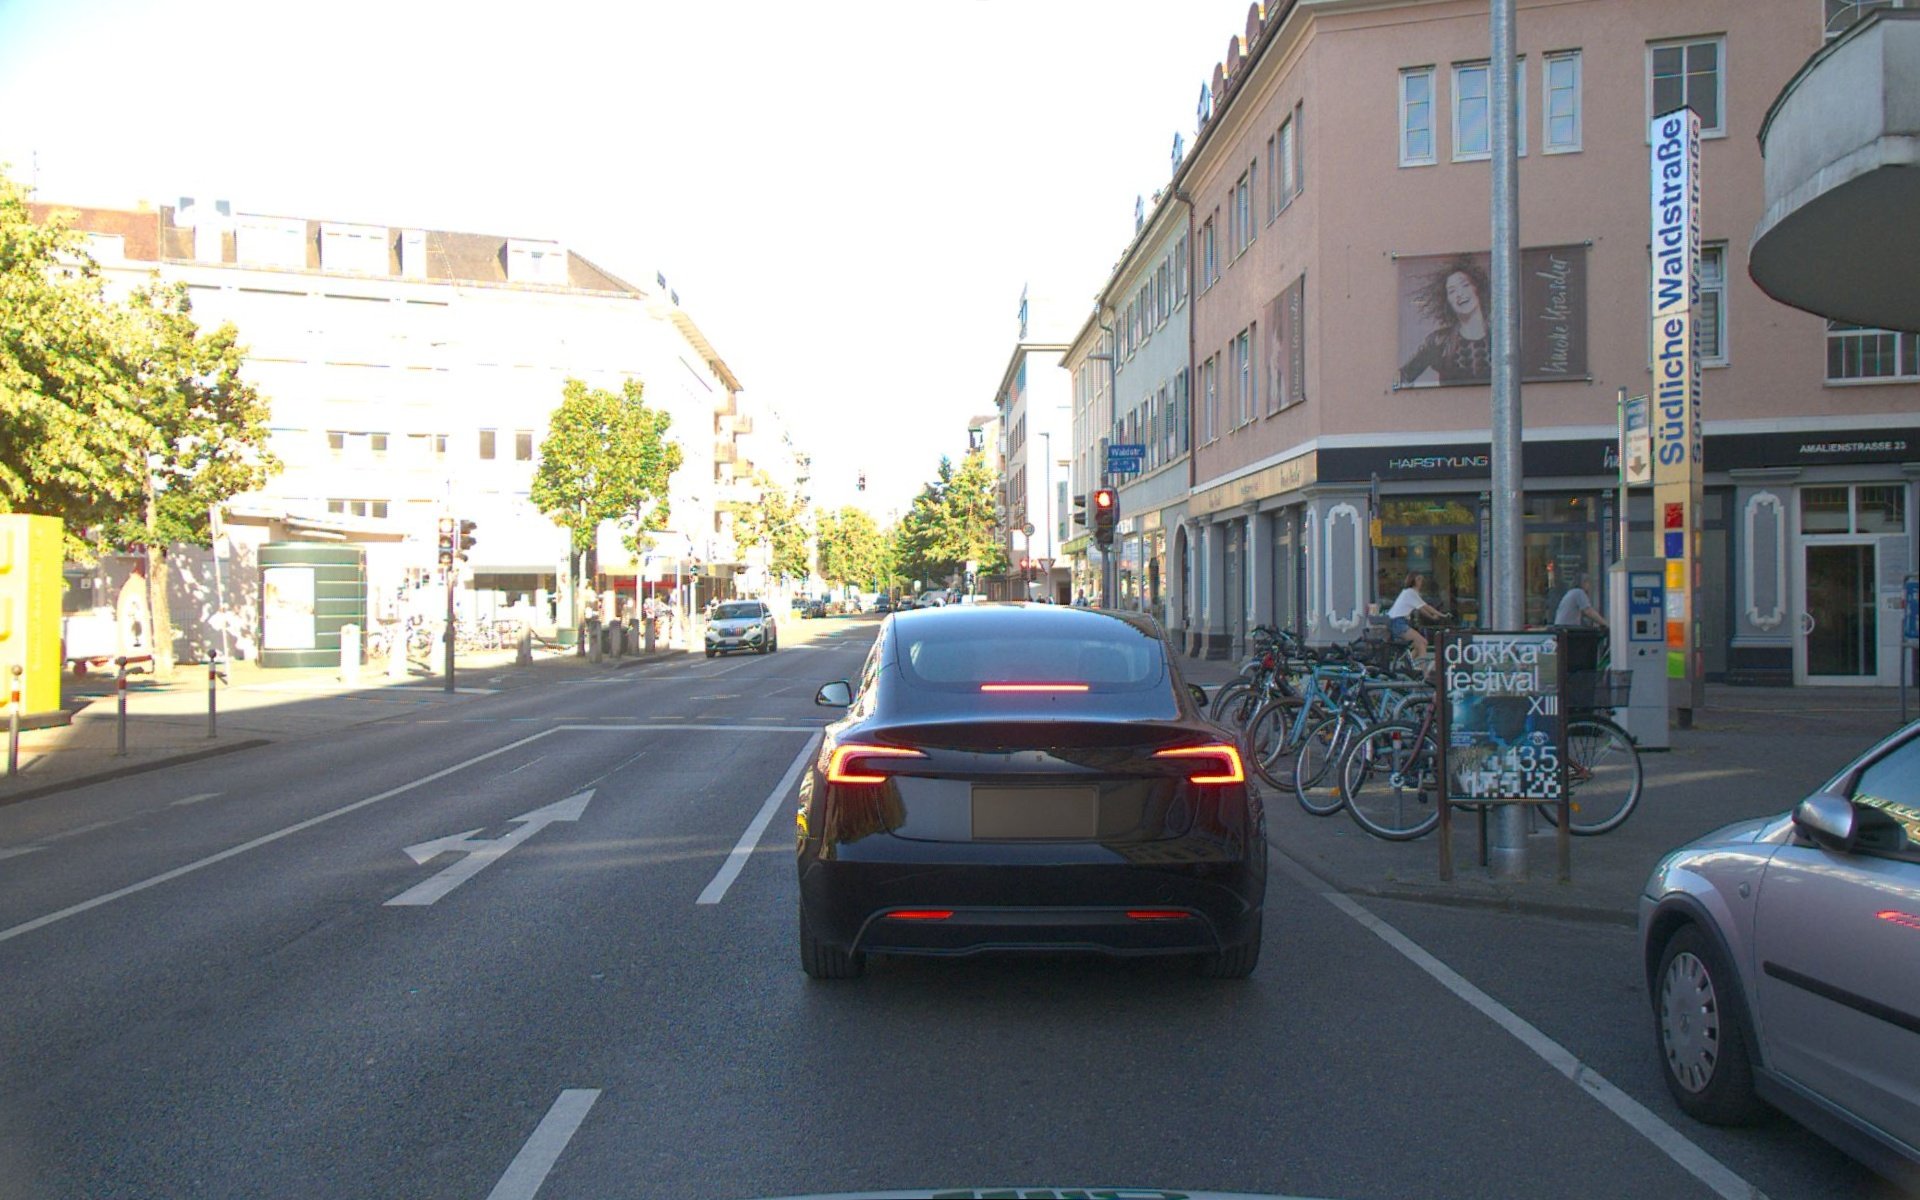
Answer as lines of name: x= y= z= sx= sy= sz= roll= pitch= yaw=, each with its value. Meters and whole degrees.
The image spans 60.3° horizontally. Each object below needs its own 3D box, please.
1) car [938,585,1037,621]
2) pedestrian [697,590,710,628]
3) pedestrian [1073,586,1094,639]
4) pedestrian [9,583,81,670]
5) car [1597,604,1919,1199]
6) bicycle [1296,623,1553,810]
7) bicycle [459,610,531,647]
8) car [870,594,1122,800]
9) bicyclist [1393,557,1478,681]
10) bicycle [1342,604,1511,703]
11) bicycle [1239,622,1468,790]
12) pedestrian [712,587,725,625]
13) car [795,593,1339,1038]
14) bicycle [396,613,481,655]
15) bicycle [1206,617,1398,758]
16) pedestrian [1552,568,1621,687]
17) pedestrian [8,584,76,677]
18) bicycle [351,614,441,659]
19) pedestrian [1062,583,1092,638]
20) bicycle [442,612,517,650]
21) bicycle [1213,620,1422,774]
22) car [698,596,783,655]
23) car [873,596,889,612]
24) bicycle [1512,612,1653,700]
car: x=1.356 y=0.156 z=82.487 sx=4.549 sy=1.757 sz=2.054 roll=0 pitch=0 yaw=28
pedestrian: x=-13.834 y=0.494 z=89.270 sx=0.613 sy=2.049 sz=0.707 roll=0 pitch=0 yaw=-1
pedestrian: x=4.238 y=0.417 z=56.727 sx=0.689 sy=1.814 sz=0.533 roll=0 pitch=0 yaw=-1
pedestrian: x=-17.663 y=0.506 z=31.951 sx=0.966 sy=1.665 sz=0.737 roll=0 pitch=0 yaw=3
car: x=2.942 y=0.730 z=3.635 sx=1.588 sy=1.419 sz=3.886 roll=0 pitch=0 yaw=0
bicycle: x=3.141 y=0.778 z=11.242 sx=1.595 sy=1.180 sz=0.432 roll=-2 pitch=0 yaw=-2
bicycle: x=-14.584 y=0.891 z=51.935 sx=2.040 sy=1.123 sz=0.806 roll=0 pitch=0 yaw=-1
car: x=0.261 y=0.697 z=13.818 sx=1.812 sy=1.480 sz=3.786 roll=0 pitch=0 yaw=0
bicyclist: x=6.310 y=0.244 z=21.979 sx=1.074 sy=1.617 sz=0.629 roll=0 pitch=0 yaw=15
bicycle: x=6.185 y=0.706 z=22.001 sx=2.080 sy=1.221 sz=0.629 roll=-3 pitch=-1 yaw=15
bicycle: x=2.960 y=0.789 z=12.507 sx=1.595 sy=1.180 sz=0.432 roll=-2 pitch=0 yaw=-2
pedestrian: x=-13.049 y=0.314 z=89.267 sx=0.613 sy=2.049 sz=0.575 roll=0 pitch=0 yaw=-1
car: x=0.358 y=0.716 z=7.404 sx=1.812 sy=1.480 sz=3.786 roll=0 pitch=0 yaw=0
bicycle: x=-14.171 y=0.915 z=44.973 sx=2.040 sy=1.123 sz=0.806 roll=0 pitch=0 yaw=-1
bicycle: x=3.044 y=0.772 z=14.796 sx=1.594 sy=1.180 sz=0.433 roll=-2 pitch=0 yaw=0
pedestrian: x=7.891 y=0.344 z=20.848 sx=0.727 sy=1.466 sz=0.583 roll=1 pitch=-1 yaw=11
pedestrian: x=-17.633 y=0.582 z=31.783 sx=0.882 sy=1.755 sz=0.744 roll=0 pitch=0 yaw=3
bicycle: x=-14.464 y=0.927 z=42.448 sx=2.040 sy=1.123 sz=0.806 roll=0 pitch=0 yaw=-1
pedestrian: x=4.020 y=0.366 z=56.789 sx=0.979 sy=1.883 sz=0.615 roll=0 pitch=0 yaw=-1
bicycle: x=-14.440 y=0.932 z=49.743 sx=2.040 sy=1.123 sz=0.806 roll=0 pitch=0 yaw=-1
bicycle: x=2.926 y=0.785 z=13.596 sx=1.595 sy=1.180 sz=0.432 roll=-2 pitch=0 yaw=-2
car: x=-6.519 y=0.738 z=49.508 sx=1.953 sy=1.567 sz=3.999 roll=-3 pitch=0 yaw=-1
car: x=-8.883 y=0.423 z=186.999 sx=1.793 sy=1.754 sz=3.998 roll=0 pitch=0 yaw=-2
bicycle: x=7.831 y=0.694 z=20.853 sx=1.581 sy=1.063 sz=0.591 roll=1 pitch=0 yaw=12
